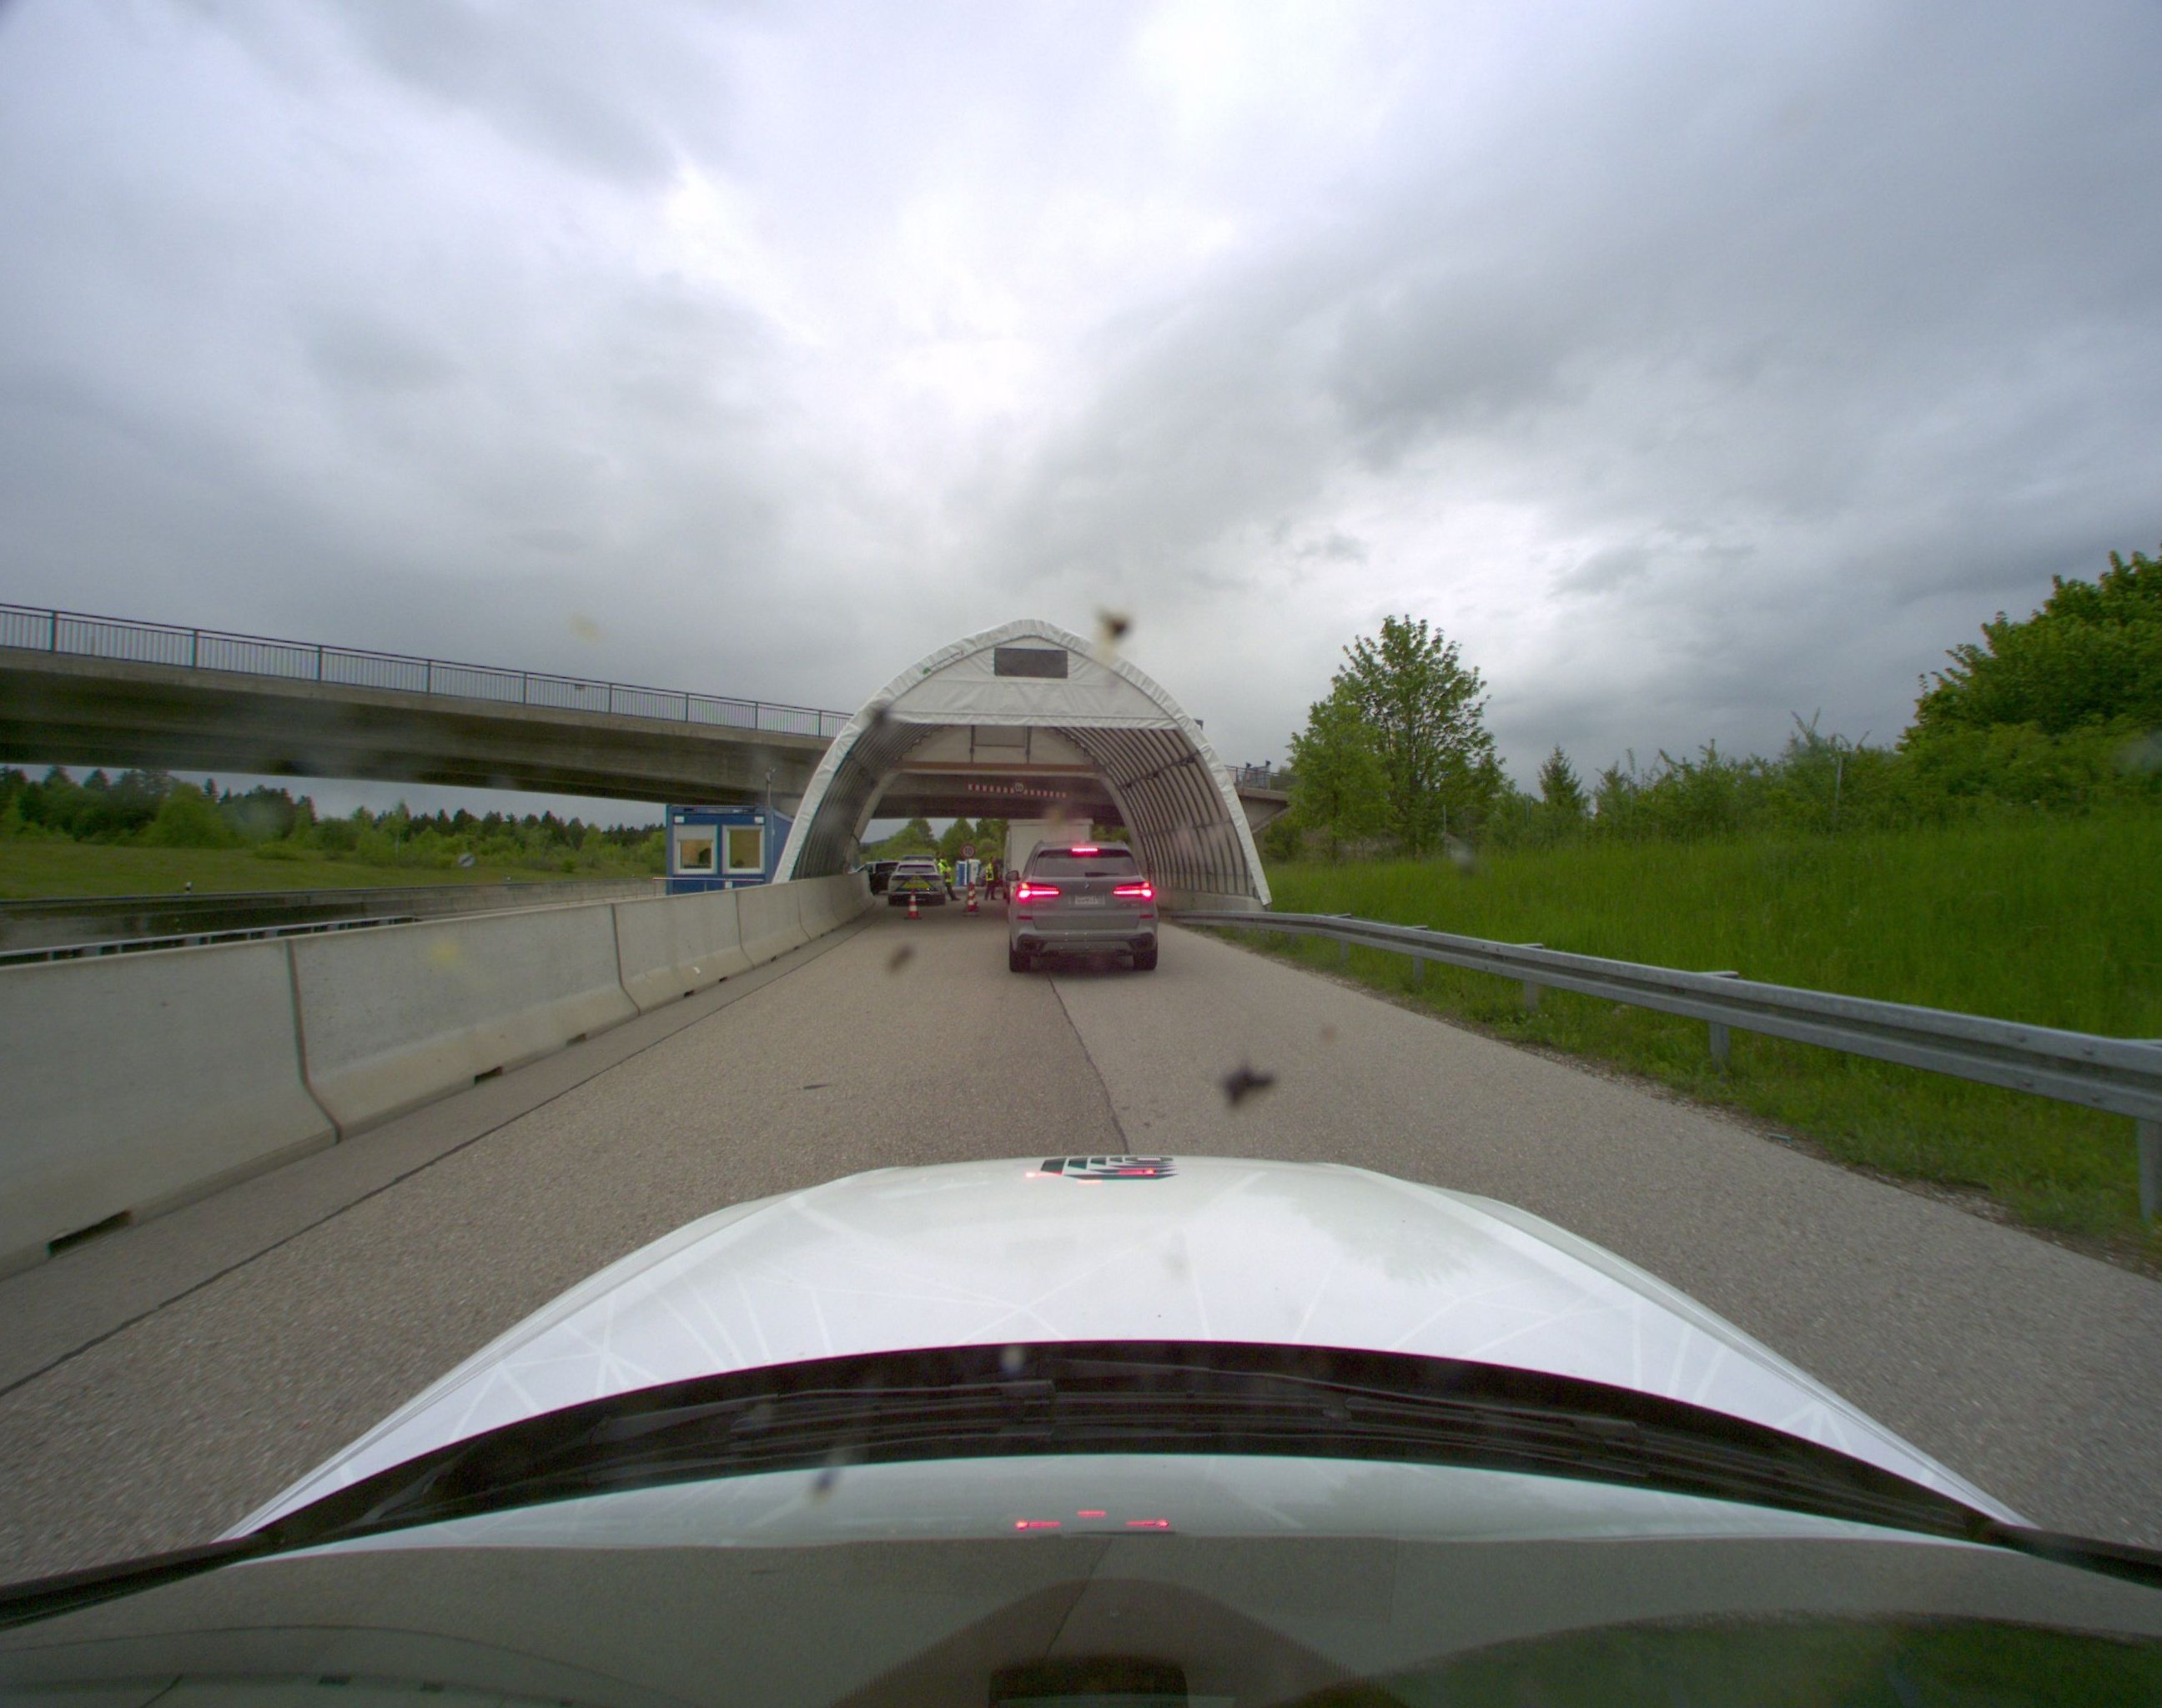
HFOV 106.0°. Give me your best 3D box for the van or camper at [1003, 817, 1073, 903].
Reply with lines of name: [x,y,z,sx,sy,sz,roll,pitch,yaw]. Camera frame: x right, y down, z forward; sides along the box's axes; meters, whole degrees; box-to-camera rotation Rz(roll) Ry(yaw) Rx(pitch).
van or camper: [-1.680,0.256,29.589,2.154,2.764,5.857,-1,-1,-6]

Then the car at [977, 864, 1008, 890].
car: [-6.530,1.665,59.887,1.706,1.854,3.981,-1,-1,-14]

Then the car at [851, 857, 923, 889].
car: [-12.095,1.204,50.943,3.966,1.854,1.712,-2,-1,6]

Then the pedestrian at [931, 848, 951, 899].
pedestrian: [-5.437,0.762,31.638,0.720,1.945,0.688,-1,-1,-9]

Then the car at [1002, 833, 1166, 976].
car: [0.005,0.646,11.986,1.988,1.719,3.997,-1,-1,-1]

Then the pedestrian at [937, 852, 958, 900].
pedestrian: [-5.019,0.827,30.725,0.720,1.775,0.688,-1,-1,-9]

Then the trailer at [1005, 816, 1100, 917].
trailer: [-0.960,0.376,23.157,2.275,2.431,6.805,-1,-1,-5]

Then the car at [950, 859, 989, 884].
car: [-9.567,1.484,69.764,2.005,2.014,3.963,-1,-1,-28]

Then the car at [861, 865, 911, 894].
car: [-10.529,1.360,43.921,1.526,1.442,3.280,-1,-1,-34]

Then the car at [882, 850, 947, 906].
car: [-5.726,0.791,28.325,1.993,1.772,3.753,-1,-1,-9]

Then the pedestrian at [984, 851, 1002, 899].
pedestrian: [-3.358,0.799,31.087,0.604,1.775,0.648,-1,-1,-9]
